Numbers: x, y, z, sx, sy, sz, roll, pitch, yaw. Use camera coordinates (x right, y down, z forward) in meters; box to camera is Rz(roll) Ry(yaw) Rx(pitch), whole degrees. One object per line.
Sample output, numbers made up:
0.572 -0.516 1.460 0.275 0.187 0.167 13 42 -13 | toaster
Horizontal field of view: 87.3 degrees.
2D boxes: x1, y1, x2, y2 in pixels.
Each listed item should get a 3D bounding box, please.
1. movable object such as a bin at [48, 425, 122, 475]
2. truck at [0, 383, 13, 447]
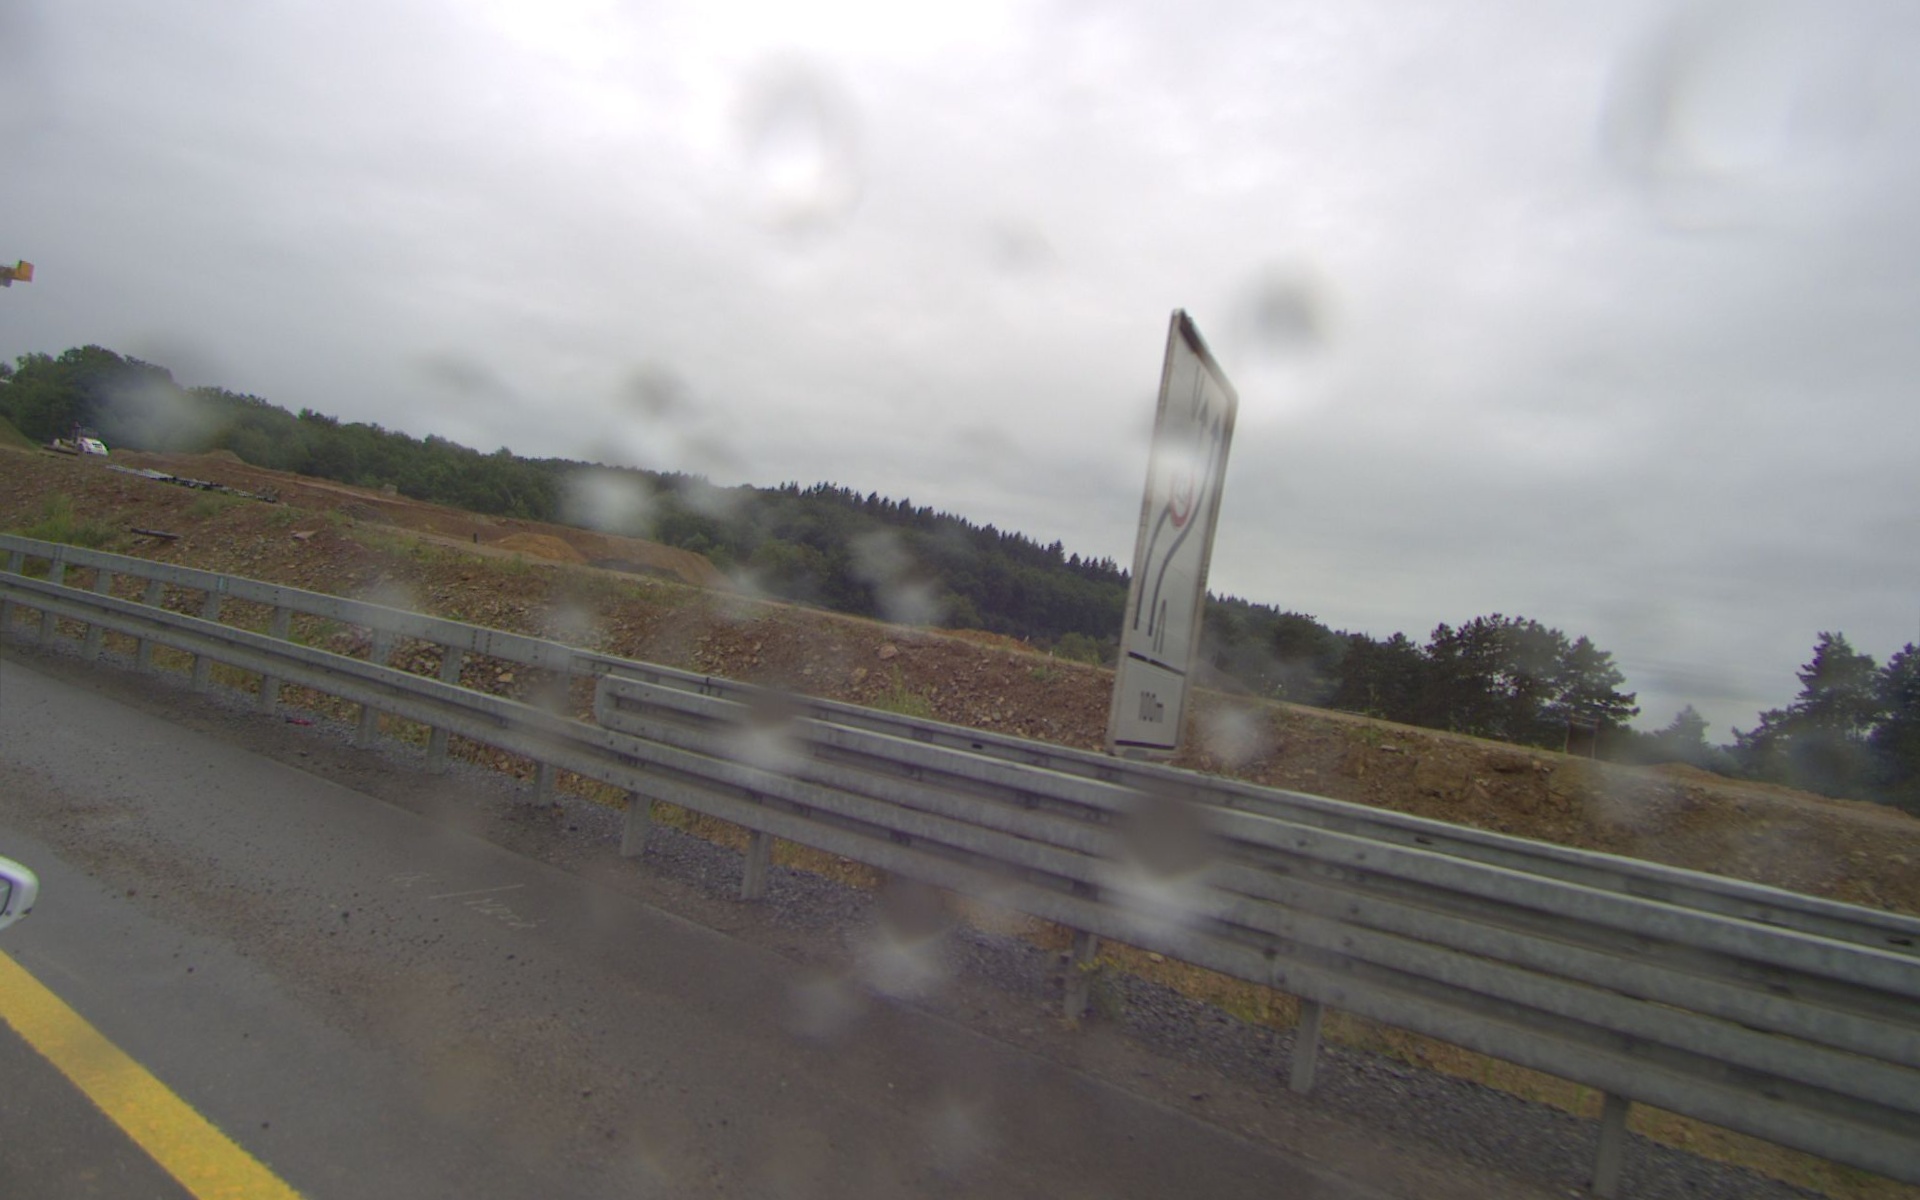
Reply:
-75.415 -12.935 86.657 6.446 3.642 2.347 7 -1 28 | movable object such as a bin
-68.133 -12.983 69.223 5.878 4.267 2.378 7 -1 31 | truck
